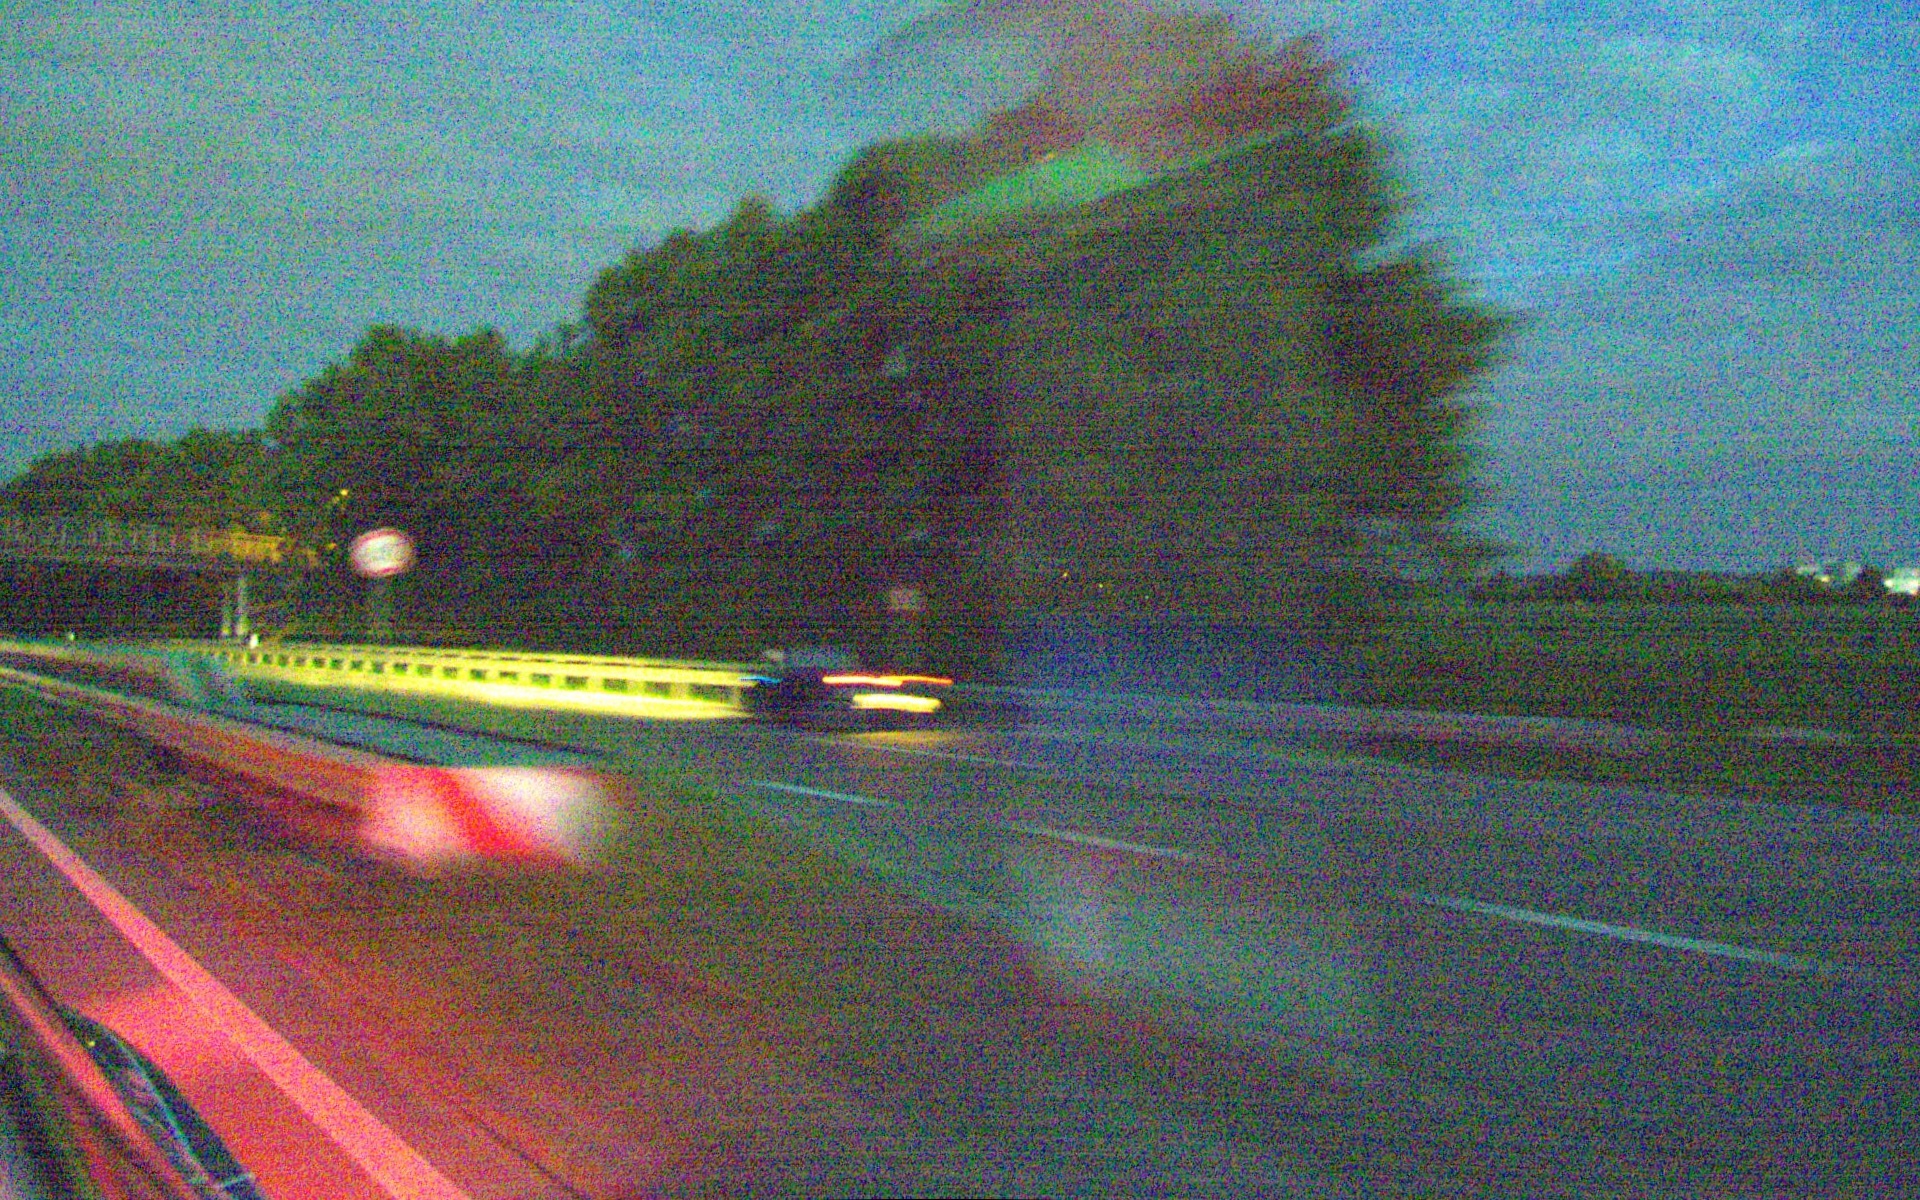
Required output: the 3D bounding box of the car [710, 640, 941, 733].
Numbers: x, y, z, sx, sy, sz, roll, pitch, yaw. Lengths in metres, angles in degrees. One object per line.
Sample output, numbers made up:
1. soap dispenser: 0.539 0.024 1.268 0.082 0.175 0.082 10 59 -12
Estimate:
1. car: -2.339 1.388 17.042 3.936 1.340 1.589 -1 -4 40
